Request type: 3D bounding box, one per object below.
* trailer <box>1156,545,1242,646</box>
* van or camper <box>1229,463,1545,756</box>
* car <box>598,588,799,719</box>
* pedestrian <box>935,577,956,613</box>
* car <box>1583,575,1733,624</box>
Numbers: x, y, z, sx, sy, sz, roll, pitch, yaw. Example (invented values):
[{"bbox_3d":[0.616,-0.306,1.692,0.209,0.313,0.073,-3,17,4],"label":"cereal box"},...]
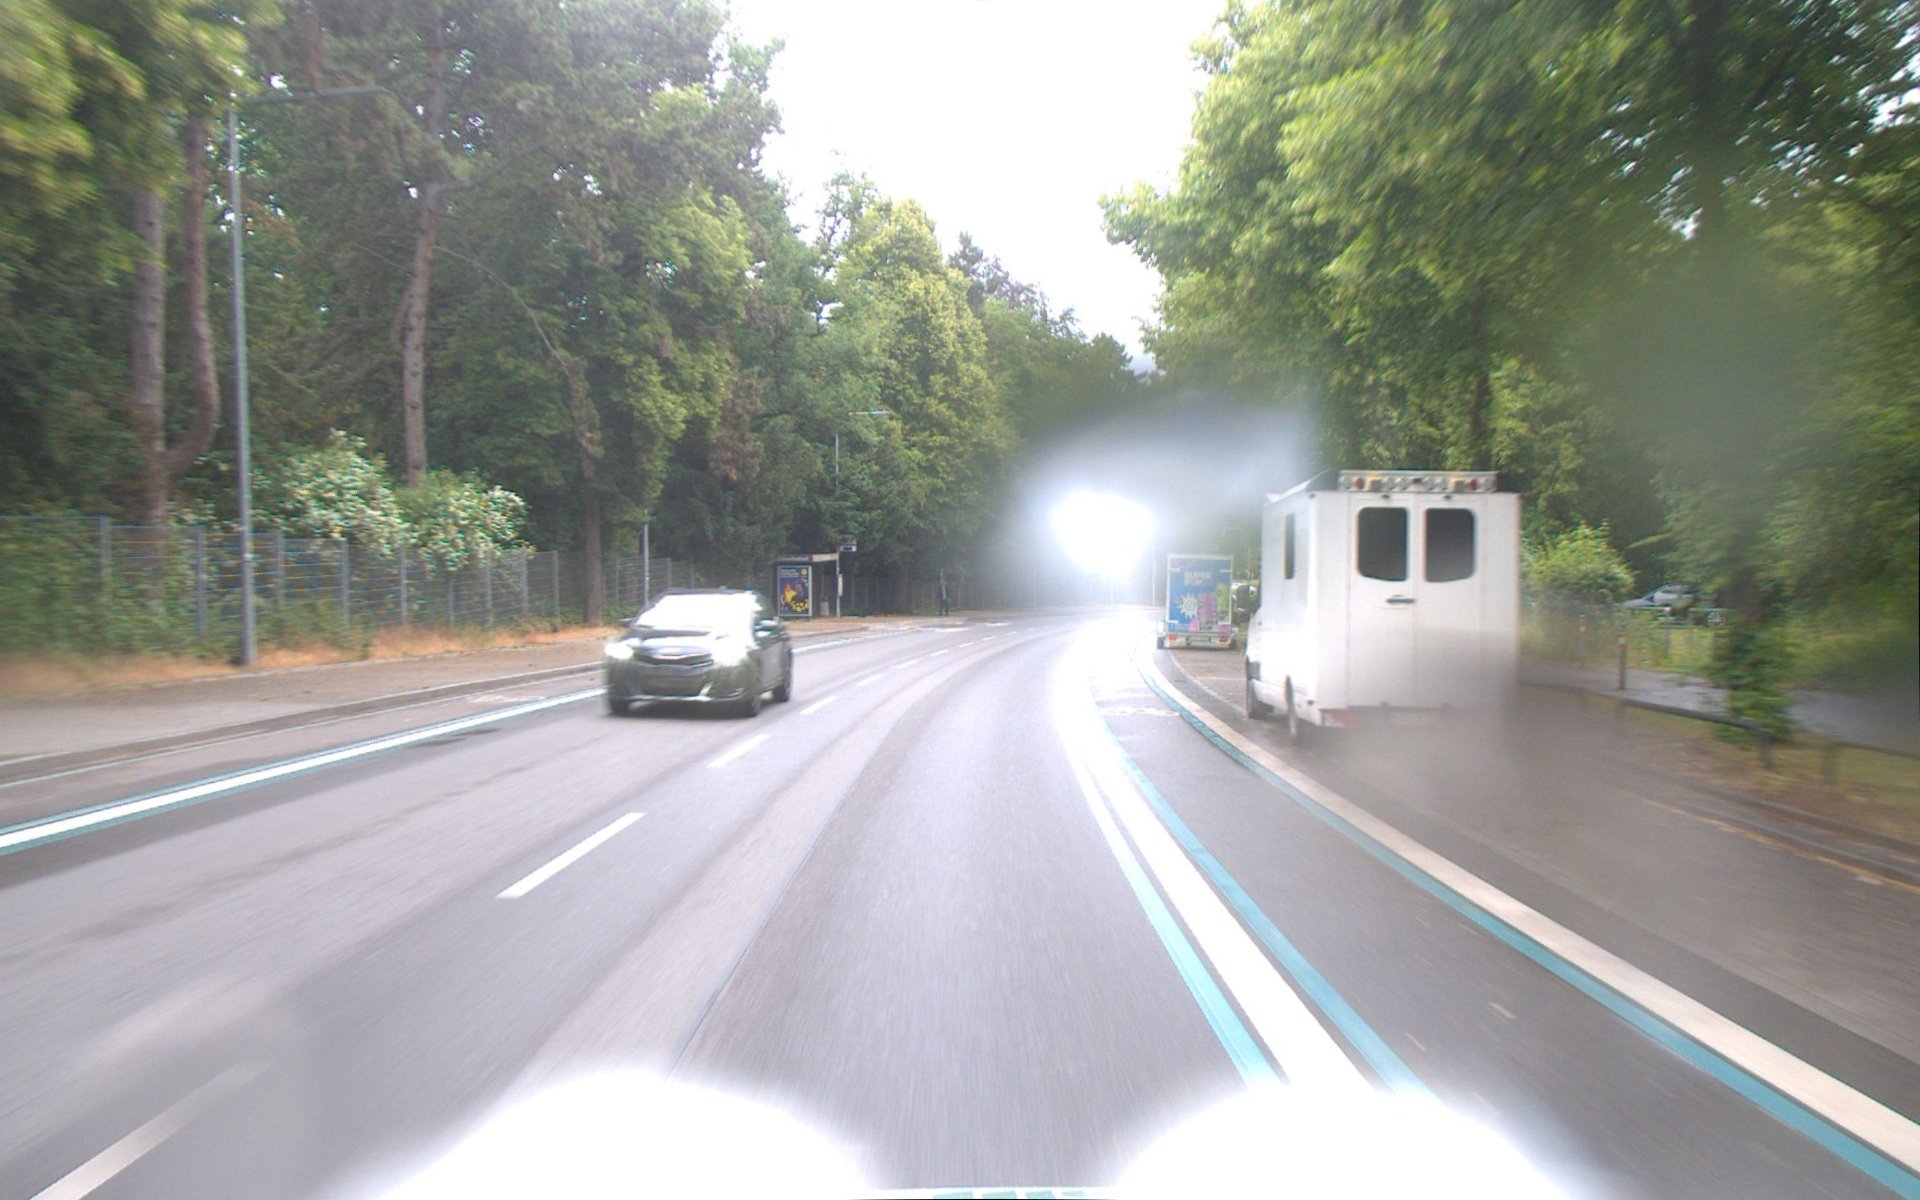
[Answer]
[{"bbox_3d":[6.815,-0.145,47.646,2.267,2.718,5.380,1,0,6],"label":"trailer"},{"bbox_3d":[4.508,0.056,18.674,2.268,2.711,6.385,1,0,4],"label":"van or camper"},{"bbox_3d":[-3.167,0.589,20.829,1.723,1.462,4.152,1,1,2],"label":"car"},{"bbox_3d":[-0.690,-0.236,81.651,0.868,1.763,1.147,1,0,7],"label":"pedestrian"},{"bbox_3d":[21.347,-0.008,50.720,4.049,1.345,1.891,-2,0,18],"label":"car"}]
